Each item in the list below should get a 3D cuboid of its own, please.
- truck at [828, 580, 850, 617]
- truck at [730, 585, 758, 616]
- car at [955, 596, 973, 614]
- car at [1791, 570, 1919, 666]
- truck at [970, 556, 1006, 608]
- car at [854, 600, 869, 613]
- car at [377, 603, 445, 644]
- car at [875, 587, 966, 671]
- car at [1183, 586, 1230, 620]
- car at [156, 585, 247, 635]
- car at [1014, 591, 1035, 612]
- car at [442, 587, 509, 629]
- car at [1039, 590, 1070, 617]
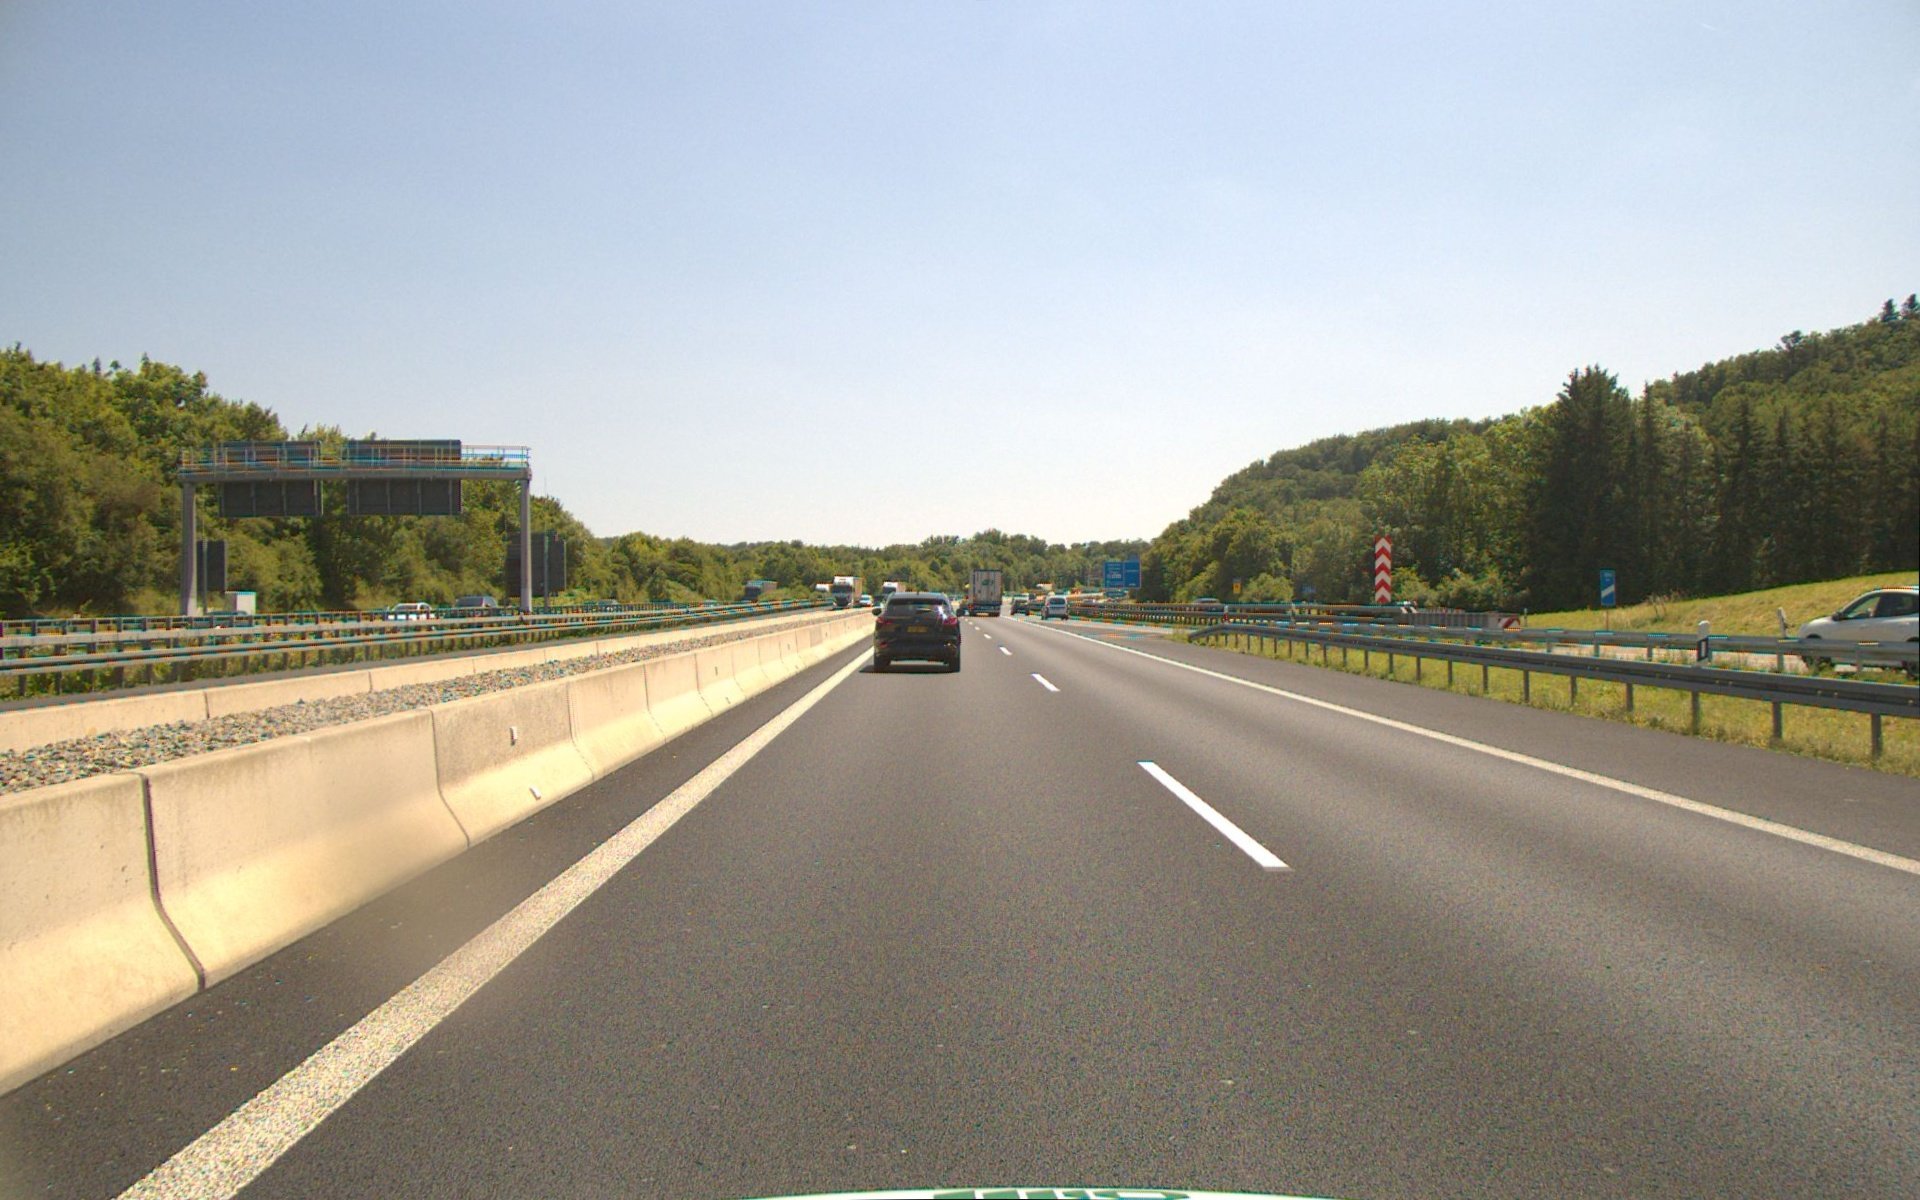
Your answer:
[{"bbox_3d":[-14.806,-0.154,202.335,2.653,4.363,4.549,1,-1,-4],"label":"truck"},{"bbox_3d":[-30.429,0.081,233.469,2.750,4.347,5.002,1,-1,7],"label":"truck"},{"bbox_3d":[0.488,0.629,207.183,2.094,2.255,5.087,1,0,-1],"label":"car"},{"bbox_3d":[17.678,0.341,30.577,1.956,1.691,4.460,1,0,-8],"label":"car"},{"bbox_3d":[2.613,-1.524,149.109,2.969,4.496,12.021,1,0,2],"label":"truck"},{"bbox_3d":[-14.235,0.906,239.066,1.706,1.858,4.903,1,0,0],"label":"car"},{"bbox_3d":[-28.923,1.209,87.293,1.906,2.049,4.764,1,0,1],"label":"car"},{"bbox_3d":[-0.891,0.588,34.981,1.744,1.605,3.997,2,0,-3],"label":"car"},{"bbox_3d":[15.982,0.192,107.350,1.956,2.049,3.993,-2,0,-7],"label":"car"},{"bbox_3d":[-32.122,0.426,70.135,1.906,2.049,4.021,1,0,1],"label":"car"},{"bbox_3d":[6.510,0.146,168.094,1.953,2.049,3.999,1,0,-1],"label":"car"},{"bbox_3d":[-24.741,0.397,84.559,1.906,2.049,4.764,1,0,1],"label":"car"},{"bbox_3d":[7.364,0.276,129.220,1.954,2.049,3.998,-2,0,-2],"label":"car"}]
